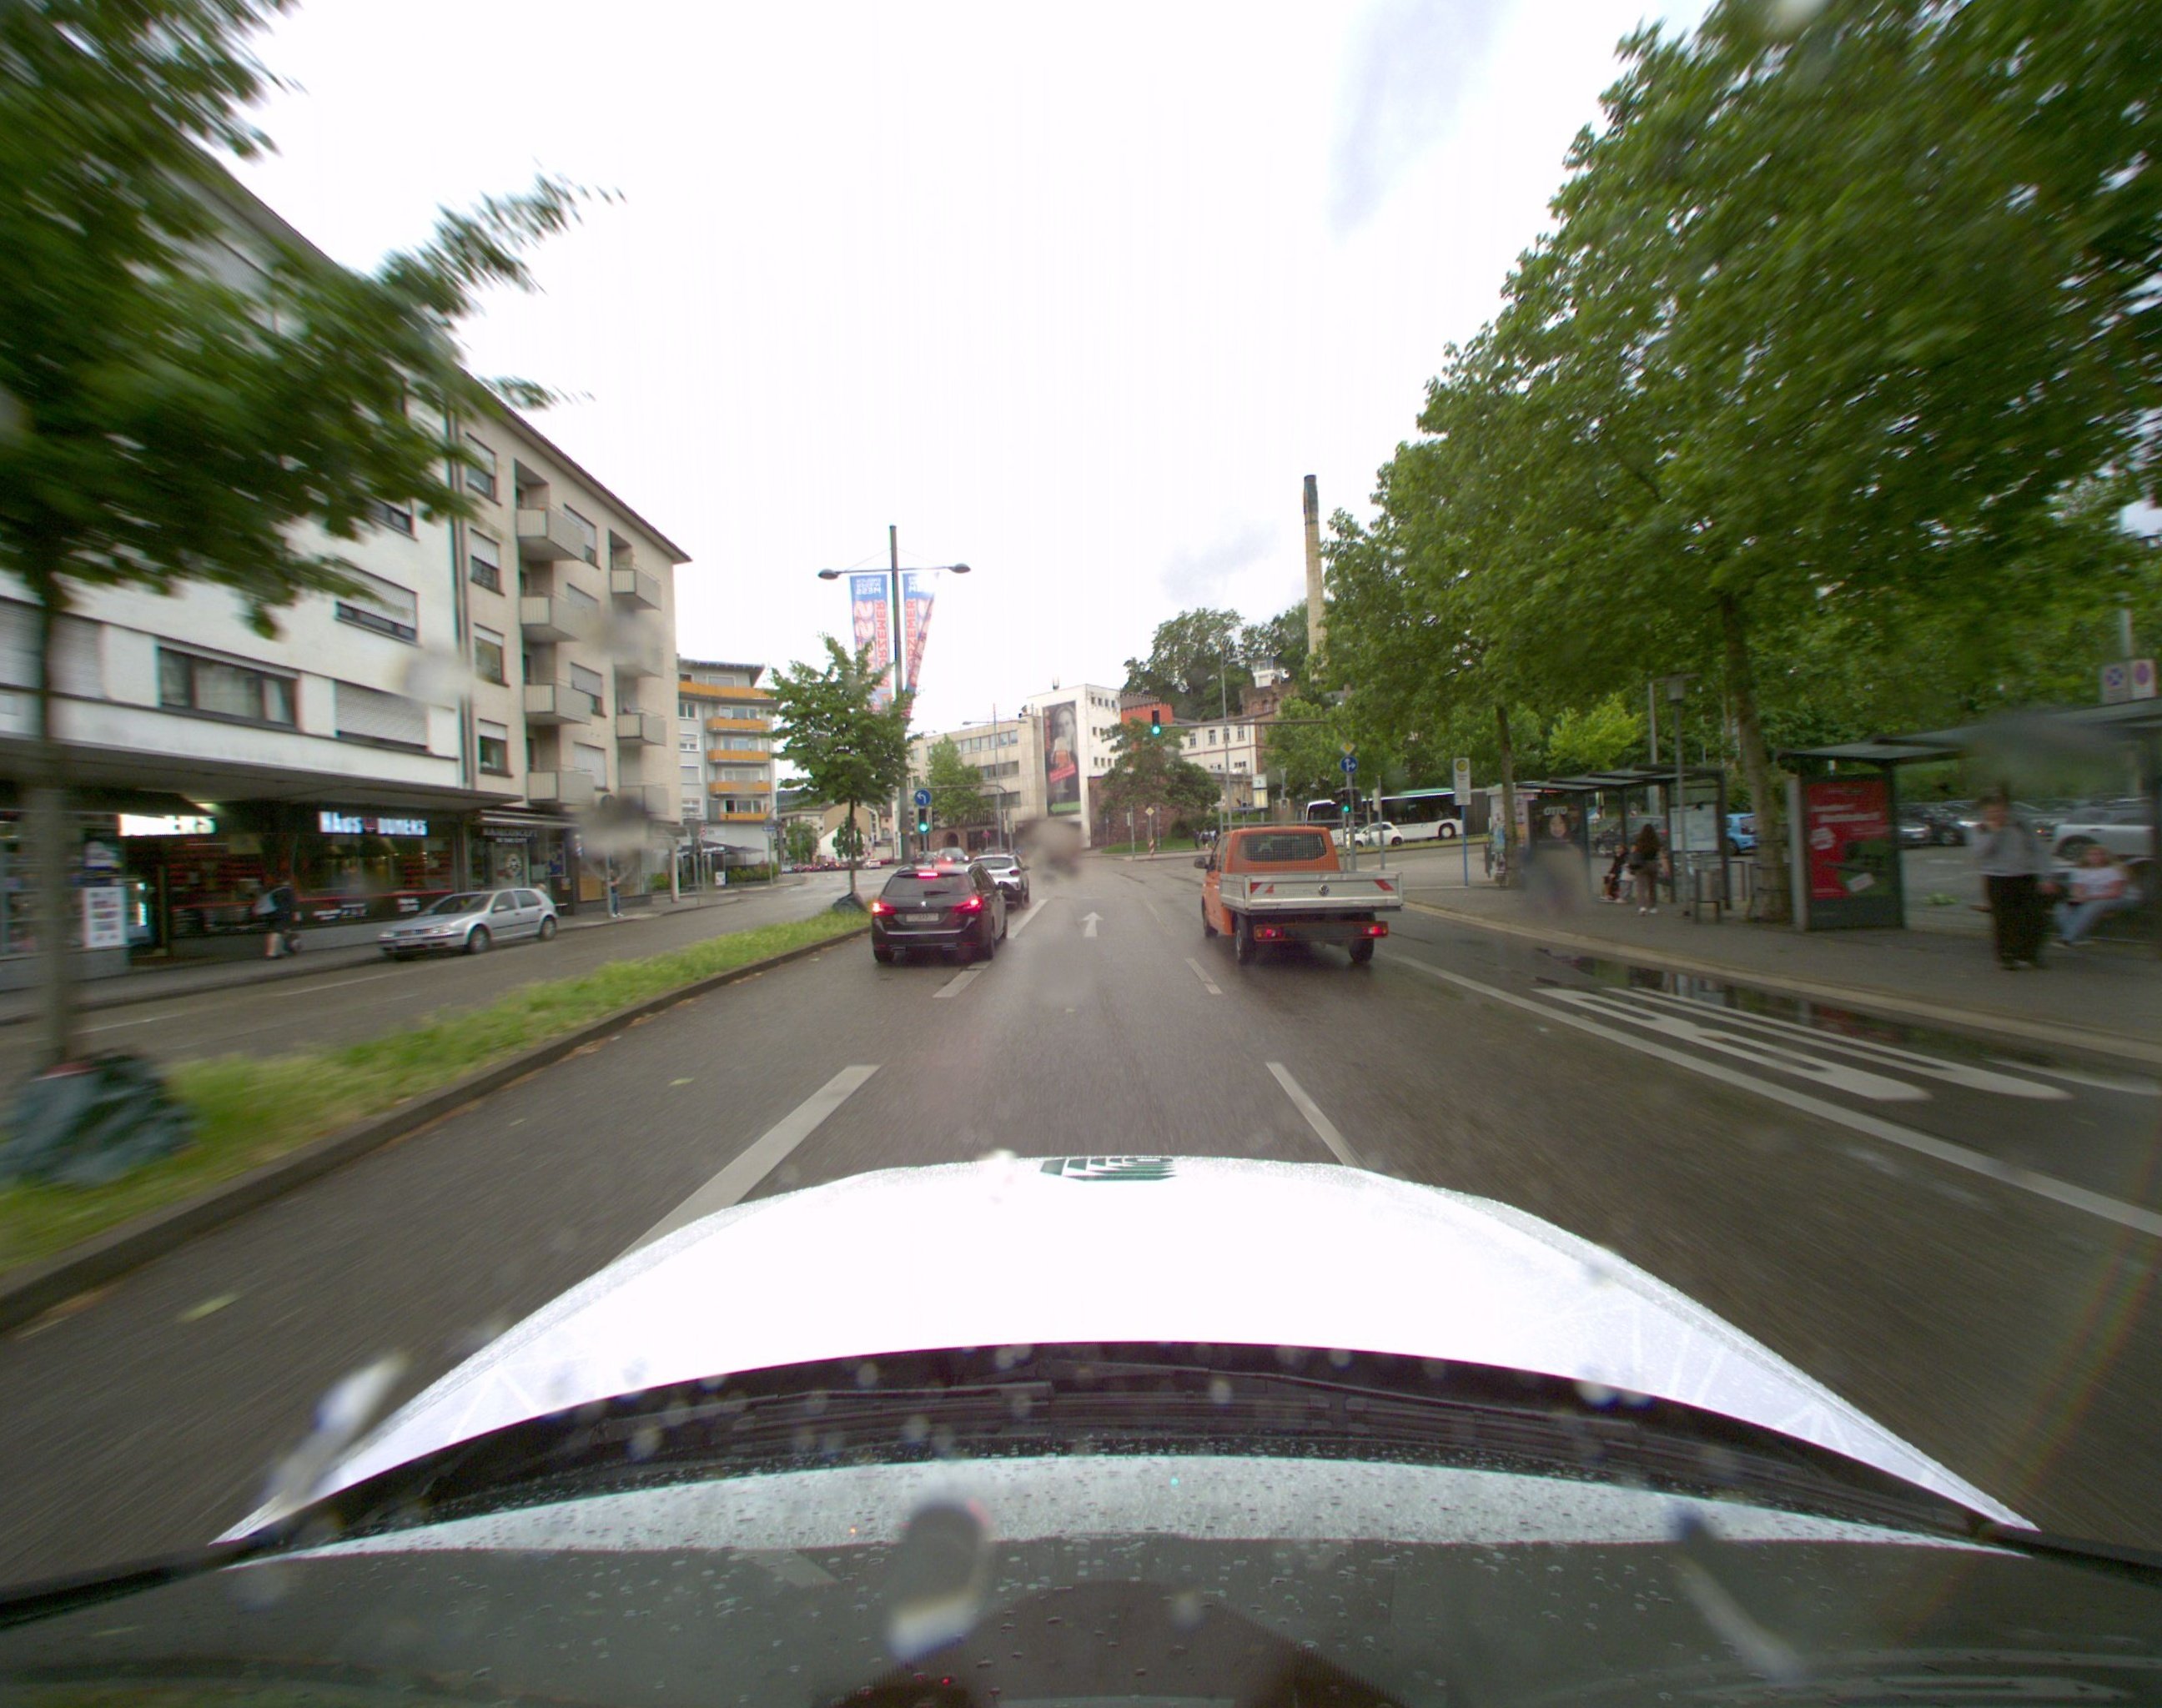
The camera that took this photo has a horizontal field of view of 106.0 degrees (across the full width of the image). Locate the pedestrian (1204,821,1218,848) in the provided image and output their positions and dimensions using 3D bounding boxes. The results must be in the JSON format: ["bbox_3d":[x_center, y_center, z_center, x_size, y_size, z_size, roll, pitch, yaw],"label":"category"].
[{"bbox_3d":[9.127,-1.355,57.158,0.876,1.831,0.729,-2,0,2],"label":"pedestrian"}]

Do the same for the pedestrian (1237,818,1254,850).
[{"bbox_3d":[10.910,-1.306,53.900,0.777,2.013,0.592,-3,2,37],"label":"pedestrian"}]

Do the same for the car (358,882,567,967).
[{"bbox_3d":[-14.068,1.519,18.891,1.672,1.391,4.148,-5,1,-3],"label":"car"}]

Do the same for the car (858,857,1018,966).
[{"bbox_3d":[-2.171,0.809,13.587,1.793,1.434,4.397,-2,0,0],"label":"car"}]

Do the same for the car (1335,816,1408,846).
[{"bbox_3d":[16.478,-1.326,46.331,3.547,1.451,1.590,-3,2,-1],"label":"car"}]

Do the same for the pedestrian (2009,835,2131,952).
[{"bbox_3d":[11.616,0.453,9.589,0.627,1.322,0.628,-2,0,13],"label":"pedestrian"}]

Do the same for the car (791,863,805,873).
[{"bbox_3d":[-49.049,2.414,141.267,1.675,1.396,3.832,-3,2,-28],"label":"car"}]

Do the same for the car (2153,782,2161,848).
[{"bbox_3d":[26.866,-0.930,17.731,1.752,1.590,3.998,-4,2,-2],"label":"car"}]

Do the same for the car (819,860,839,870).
[{"bbox_3d":[-36.431,1.590,117.588,1.677,1.396,3.827,-4,2,-33],"label":"car"}]

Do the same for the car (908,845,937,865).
[{"bbox_3d":[-14.055,0.063,72.059,1.763,1.614,4.180,-4,2,-22],"label":"car"}]

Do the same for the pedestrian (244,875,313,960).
[{"bbox_3d":[-16.927,1.326,17.184,0.775,1.729,0.660,1,1,0],"label":"pedestrian"}]

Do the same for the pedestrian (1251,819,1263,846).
[{"bbox_3d":[11.635,-1.441,53.803,0.555,1.705,0.528,-5,2,-2],"label":"pedestrian"}]

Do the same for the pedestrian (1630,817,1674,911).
[{"bbox_3d":[10.613,0.179,15.131,0.558,1.695,0.534,-5,2,-44],"label":"pedestrian"}]

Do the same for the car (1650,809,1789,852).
[{"bbox_3d":[24.046,-0.878,30.908,1.846,1.440,4.260,-4,1,-2],"label":"car"}]

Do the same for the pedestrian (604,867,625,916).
[{"bbox_3d":[-16.858,1.342,29.448,0.450,1.730,0.524,1,1,1],"label":"pedestrian"}]

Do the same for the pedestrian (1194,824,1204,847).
[{"bbox_3d":[8.280,-1.303,57.167,0.563,1.615,0.692,-1,-1,4],"label":"pedestrian"}]

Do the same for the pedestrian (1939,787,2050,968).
[{"bbox_3d":[9.860,0.241,8.819,0.762,1.842,0.725,-2,0,-43],"label":"pedestrian"}]

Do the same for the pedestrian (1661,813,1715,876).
[{"bbox_3d":[16.391,-0.271,22.002,0.762,1.632,0.861,-3,2,0],"label":"pedestrian"}]

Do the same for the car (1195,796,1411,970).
[{"bbox_3d":[3.137,0.347,12.875,2.093,2.089,5.545,-2,0,3],"label":"car"}]

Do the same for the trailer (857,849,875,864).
[{"bbox_3d":[-43.128,0.475,163.342,2.138,2.715,5.345,-6,2,-26],"label":"trailer"}]

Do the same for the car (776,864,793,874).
[{"bbox_3d":[-47.612,2.392,130.821,1.744,1.439,4.371,-4,0,-29],"label":"car"}]

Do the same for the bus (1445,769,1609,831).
[{"bbox_3d":[27.129,-3.267,49.727,8.505,3.179,2.688,-3,2,0],"label":"bus"}]

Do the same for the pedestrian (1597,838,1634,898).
[{"bbox_3d":[11.711,0.305,17.847,0.497,1.271,0.402,-3,2,1],"label":"pedestrian"}]

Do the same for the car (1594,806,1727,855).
[{"bbox_3d":[21.426,-0.859,30.369,1.795,1.612,4.260,-4,1,-2],"label":"car"}]

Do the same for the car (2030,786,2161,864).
[{"bbox_3d":[23.890,-0.657,17.635,1.752,1.590,4.174,-4,2,-2],"label":"car"}]

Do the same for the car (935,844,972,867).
[{"bbox_3d":[-9.652,0.099,61.475,1.763,1.614,4.180,-4,2,-22],"label":"car"}]

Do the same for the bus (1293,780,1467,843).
[{"bbox_3d":[18.109,-2.590,49.676,9.599,3.216,2.704,-3,2,-1],"label":"bus"}]

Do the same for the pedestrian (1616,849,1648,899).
[{"bbox_3d":[11.773,0.417,17.394,0.399,1.034,0.371,-3,2,1],"label":"pedestrian"}]

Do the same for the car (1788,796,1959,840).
[{"bbox_3d":[28.009,-1.242,28.996,1.846,1.354,4.260,-4,1,-2],"label":"car"}]

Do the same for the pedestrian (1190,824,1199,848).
[{"bbox_3d":[8.648,-1.364,61.877,0.593,1.781,0.658,-1,-1,11],"label":"pedestrian"}]

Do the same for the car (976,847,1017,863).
[{"bbox_3d":[-7.830,0.090,75.120,1.802,1.403,4.585,-1,-1,-33],"label":"car"}]

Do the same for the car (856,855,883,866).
[{"bbox_3d":[-27.568,0.857,106.247,3.819,1.396,1.680,0,3,45],"label":"car"}]

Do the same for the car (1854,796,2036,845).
[{"bbox_3d":[30.360,-1.138,28.831,1.846,1.479,4.260,-4,1,-2],"label":"car"}]

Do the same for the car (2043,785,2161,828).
[{"bbox_3d":[37.452,-1.681,28.775,1.846,1.397,4.260,-4,1,-2],"label":"car"}]

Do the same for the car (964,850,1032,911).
[{"bbox_3d":[-2.270,0.674,23.032,1.532,1.461,3.628,-3,1,-1],"label":"car"}]
